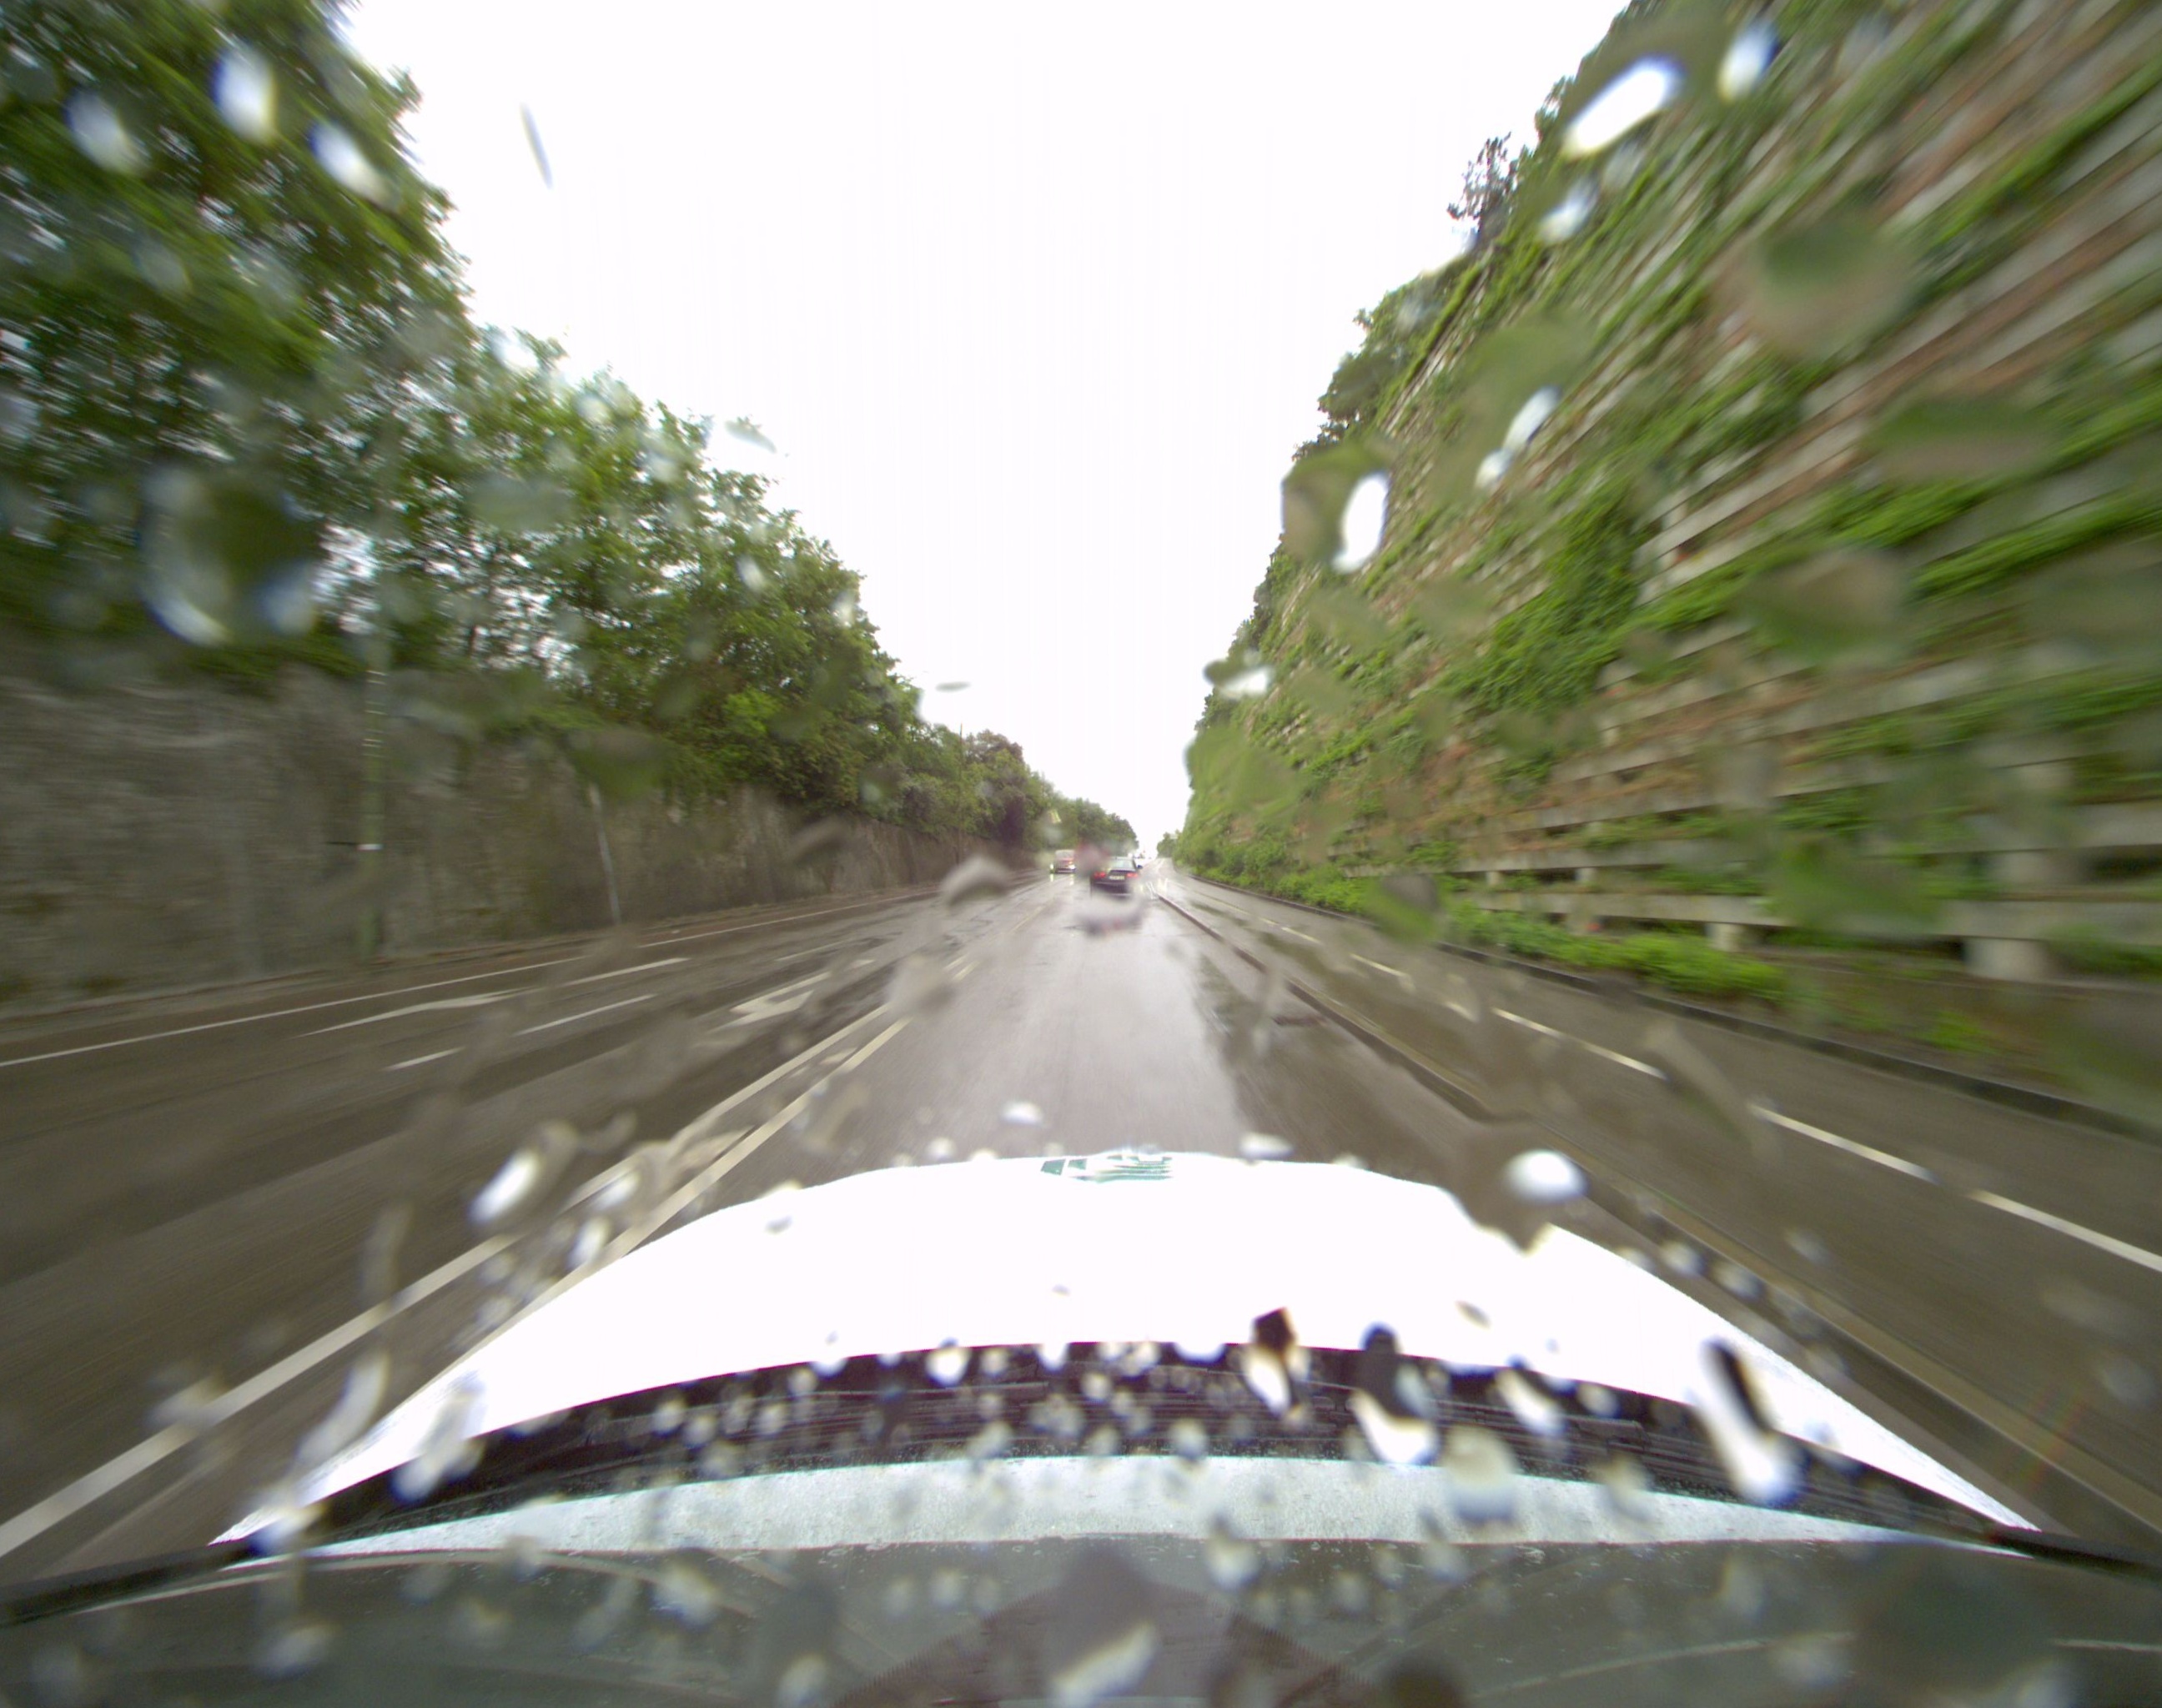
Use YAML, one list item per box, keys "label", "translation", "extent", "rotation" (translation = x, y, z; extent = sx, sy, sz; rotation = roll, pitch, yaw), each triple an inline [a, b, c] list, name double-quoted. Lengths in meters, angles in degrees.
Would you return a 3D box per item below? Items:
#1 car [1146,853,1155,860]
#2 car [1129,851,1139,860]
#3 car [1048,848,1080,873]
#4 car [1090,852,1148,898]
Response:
- label: "car"
  translation: [15.932, 0.625, 187.615]
  extent: [1.812, 1.615, 4.102]
  rotation: [-1, -1, 8]
- label: "car"
  translation: [10.096, 0.284, 155.891]
  extent: [1.856, 1.449, 4.382]
  rotation: [-2, -1, 4]
- label: "car"
  translation: [-1.120, 0.440, 55.915]
  extent: [1.724, 1.618, 4.006]
  rotation: [-1, -1, 5]
- label: "car"
  translation: [1.375, 0.717, 28.645]
  extent: [1.884, 1.492, 4.211]
  rotation: [-1, -1, 3]
